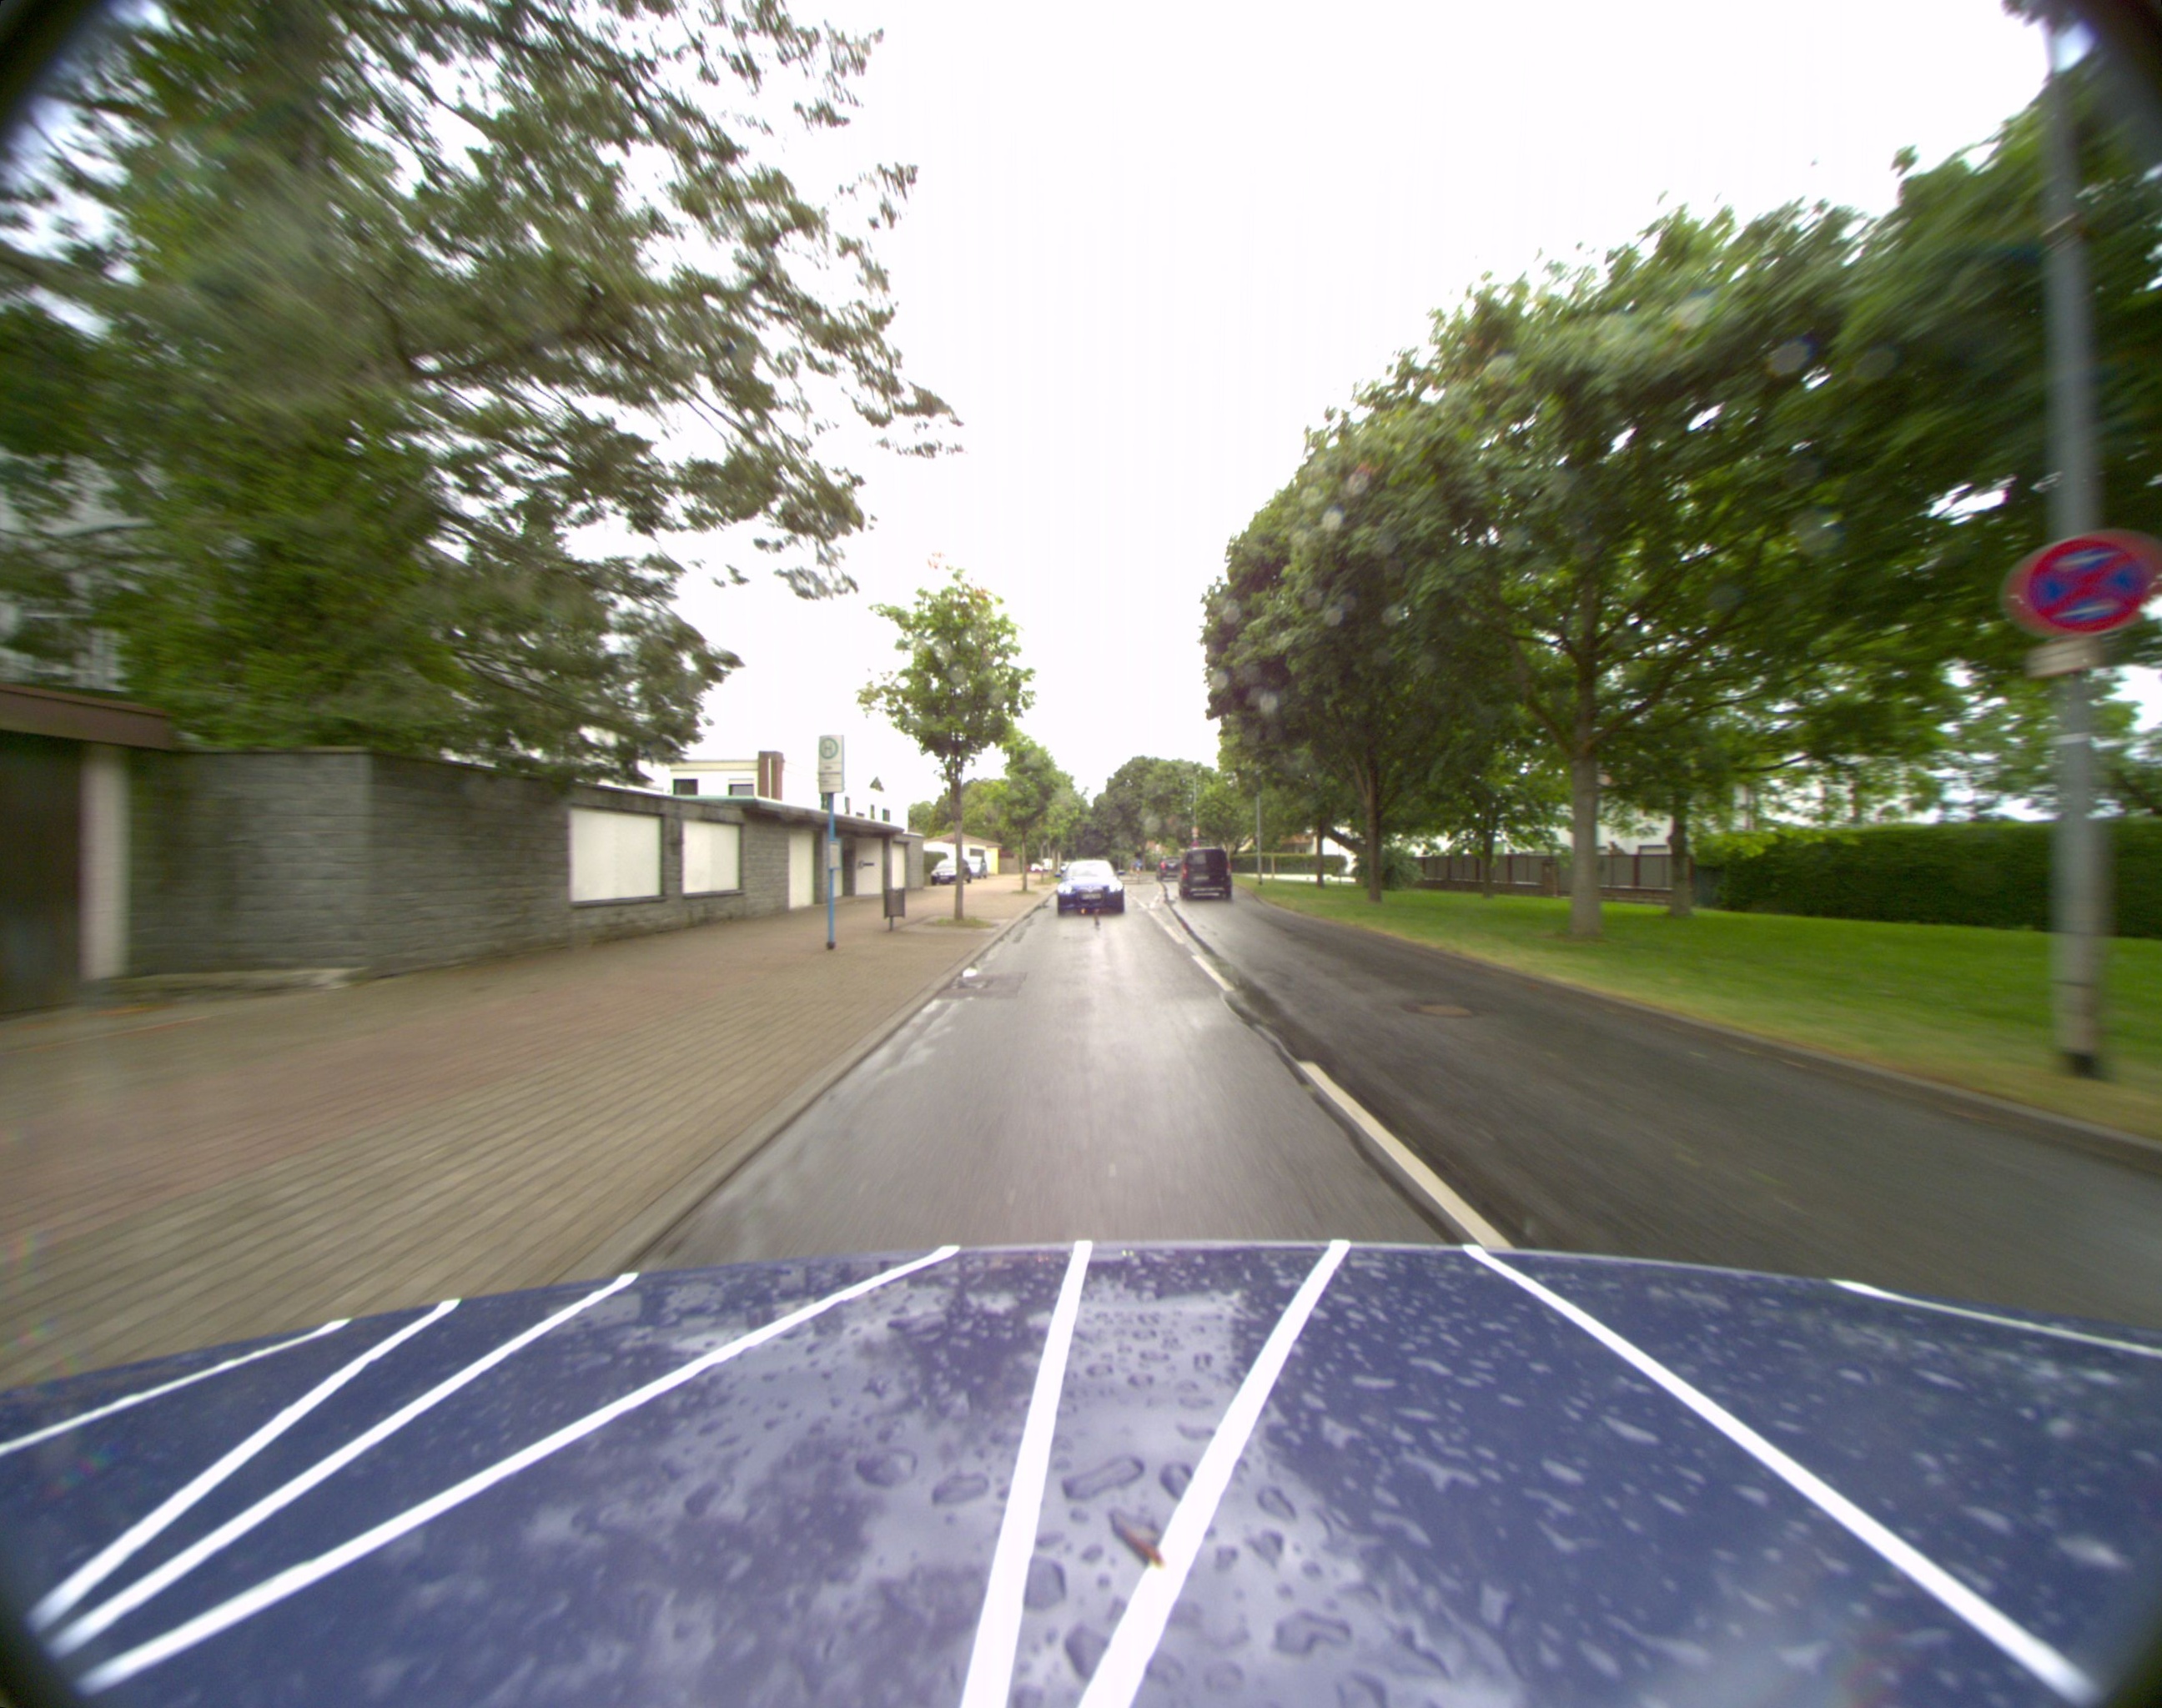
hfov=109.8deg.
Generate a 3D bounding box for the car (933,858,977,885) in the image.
[{"bbox_3d":[-7.151,0.955,43.418,1.666,1.413,4.000,-2,0,1],"label":"car"}]

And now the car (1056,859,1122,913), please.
[{"bbox_3d":[0.275,0.901,23.331,1.815,1.459,3.975,-1,0,1],"label":"car"}]

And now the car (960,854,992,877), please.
[{"bbox_3d":[-7.725,0.812,56.253,1.699,1.553,4.000,-2,1,1],"label":"car"}]

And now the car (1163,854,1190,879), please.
[{"bbox_3d":[6.342,0.817,50.798,1.713,1.588,4.174,-1,0,6],"label":"car"}]

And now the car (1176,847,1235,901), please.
[{"bbox_3d":[4.382,0.661,27.332,1.780,1.763,4.287,-1,0,5],"label":"car"}]

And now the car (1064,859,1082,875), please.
[{"bbox_3d":[-1.139,1.788,103.120,1.999,2.002,3.997,-2,1,-6],"label":"car"}]
